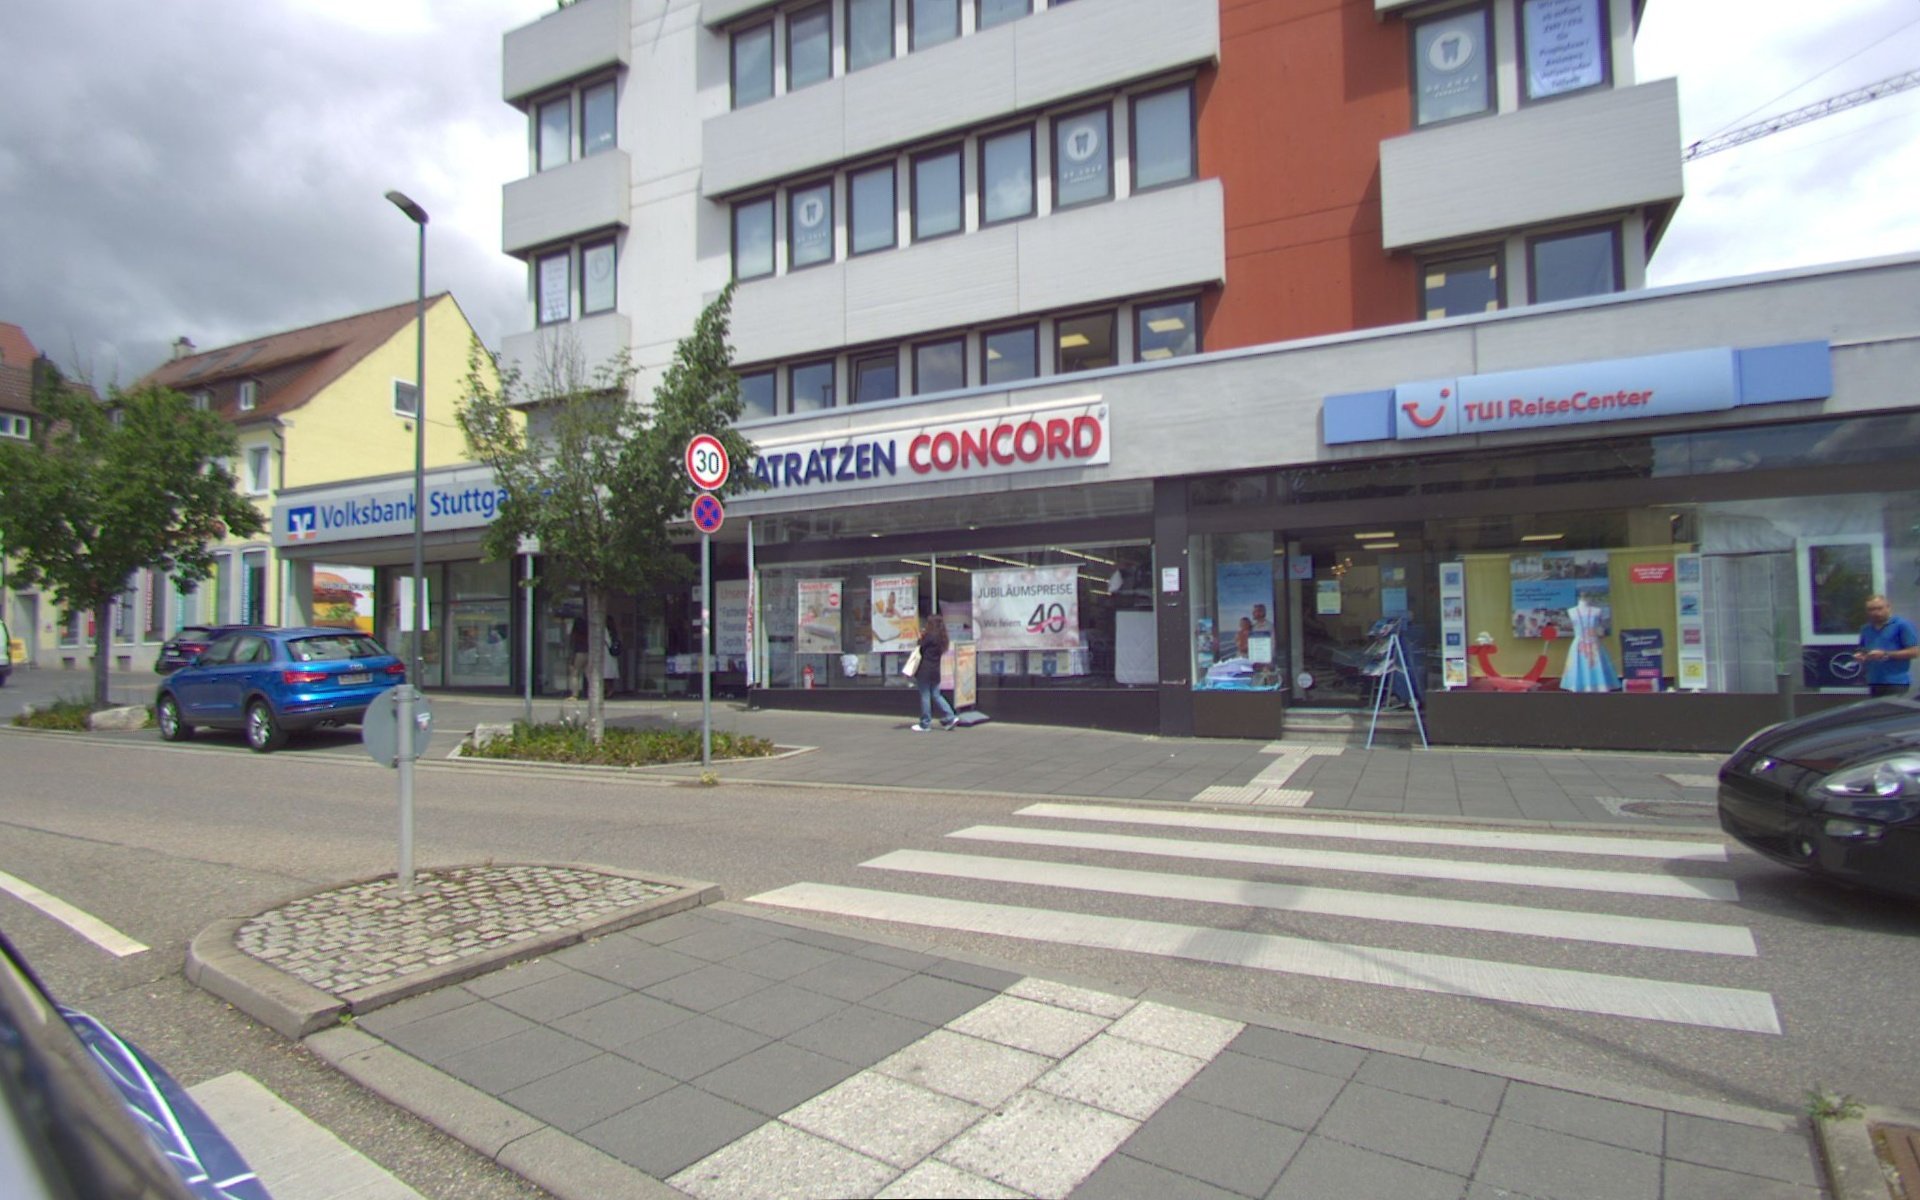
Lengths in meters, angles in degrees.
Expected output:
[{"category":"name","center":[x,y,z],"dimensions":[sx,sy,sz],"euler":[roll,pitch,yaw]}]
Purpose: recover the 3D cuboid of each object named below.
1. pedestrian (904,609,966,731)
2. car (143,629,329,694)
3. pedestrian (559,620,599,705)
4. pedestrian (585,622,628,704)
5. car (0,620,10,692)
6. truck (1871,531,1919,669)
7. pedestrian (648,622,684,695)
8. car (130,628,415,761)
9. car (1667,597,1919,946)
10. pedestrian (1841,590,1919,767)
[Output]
[{"category":"pedestrian","center":[-0.336,0.924,13.671],"dimensions":[0.635,1.600,0.583],"euler":[-1,-2,28]},{"category":"car","center":[-18.852,1.537,26.506],"dimensions":[1.659,1.570,3.607],"euler":[-1,-2,26]},{"category":"pedestrian","center":[-7.236,1.194,19.235],"dimensions":[0.634,1.578,0.588],"euler":[2,-4,-17]},{"category":"pedestrian","center":[-6.937,1.240,19.877],"dimensions":[0.584,1.578,0.506],"euler":[-1,-4,28]},{"category":"car","center":[-26.881,1.447,26.261],"dimensions":[4.451,1.827,1.747],"euler":[-1,-1,25]},{"category":"truck","center":[28.864,-0.070,27.100],"dimensions":[2.946,4.058,10.521],"euler":[0,-2,21]},{"category":"pedestrian","center":[-7.012,1.399,24.157],"dimensions":[0.581,1.718,0.641],"euler":[-3,-4,18]},{"category":"car","center":[-9.928,1.237,14.546],"dimensions":[4.314,1.611,1.683],"euler":[-1,0,30]},{"category":"car","center":[5.894,0.704,4.534],"dimensions":[4.079,1.430,1.696],"euler":[0,-1,14]},{"category":"pedestrian","center":[8.890,0.724,9.533],"dimensions":[0.598,1.616,0.568],"euler":[-1,-2,0]}]
